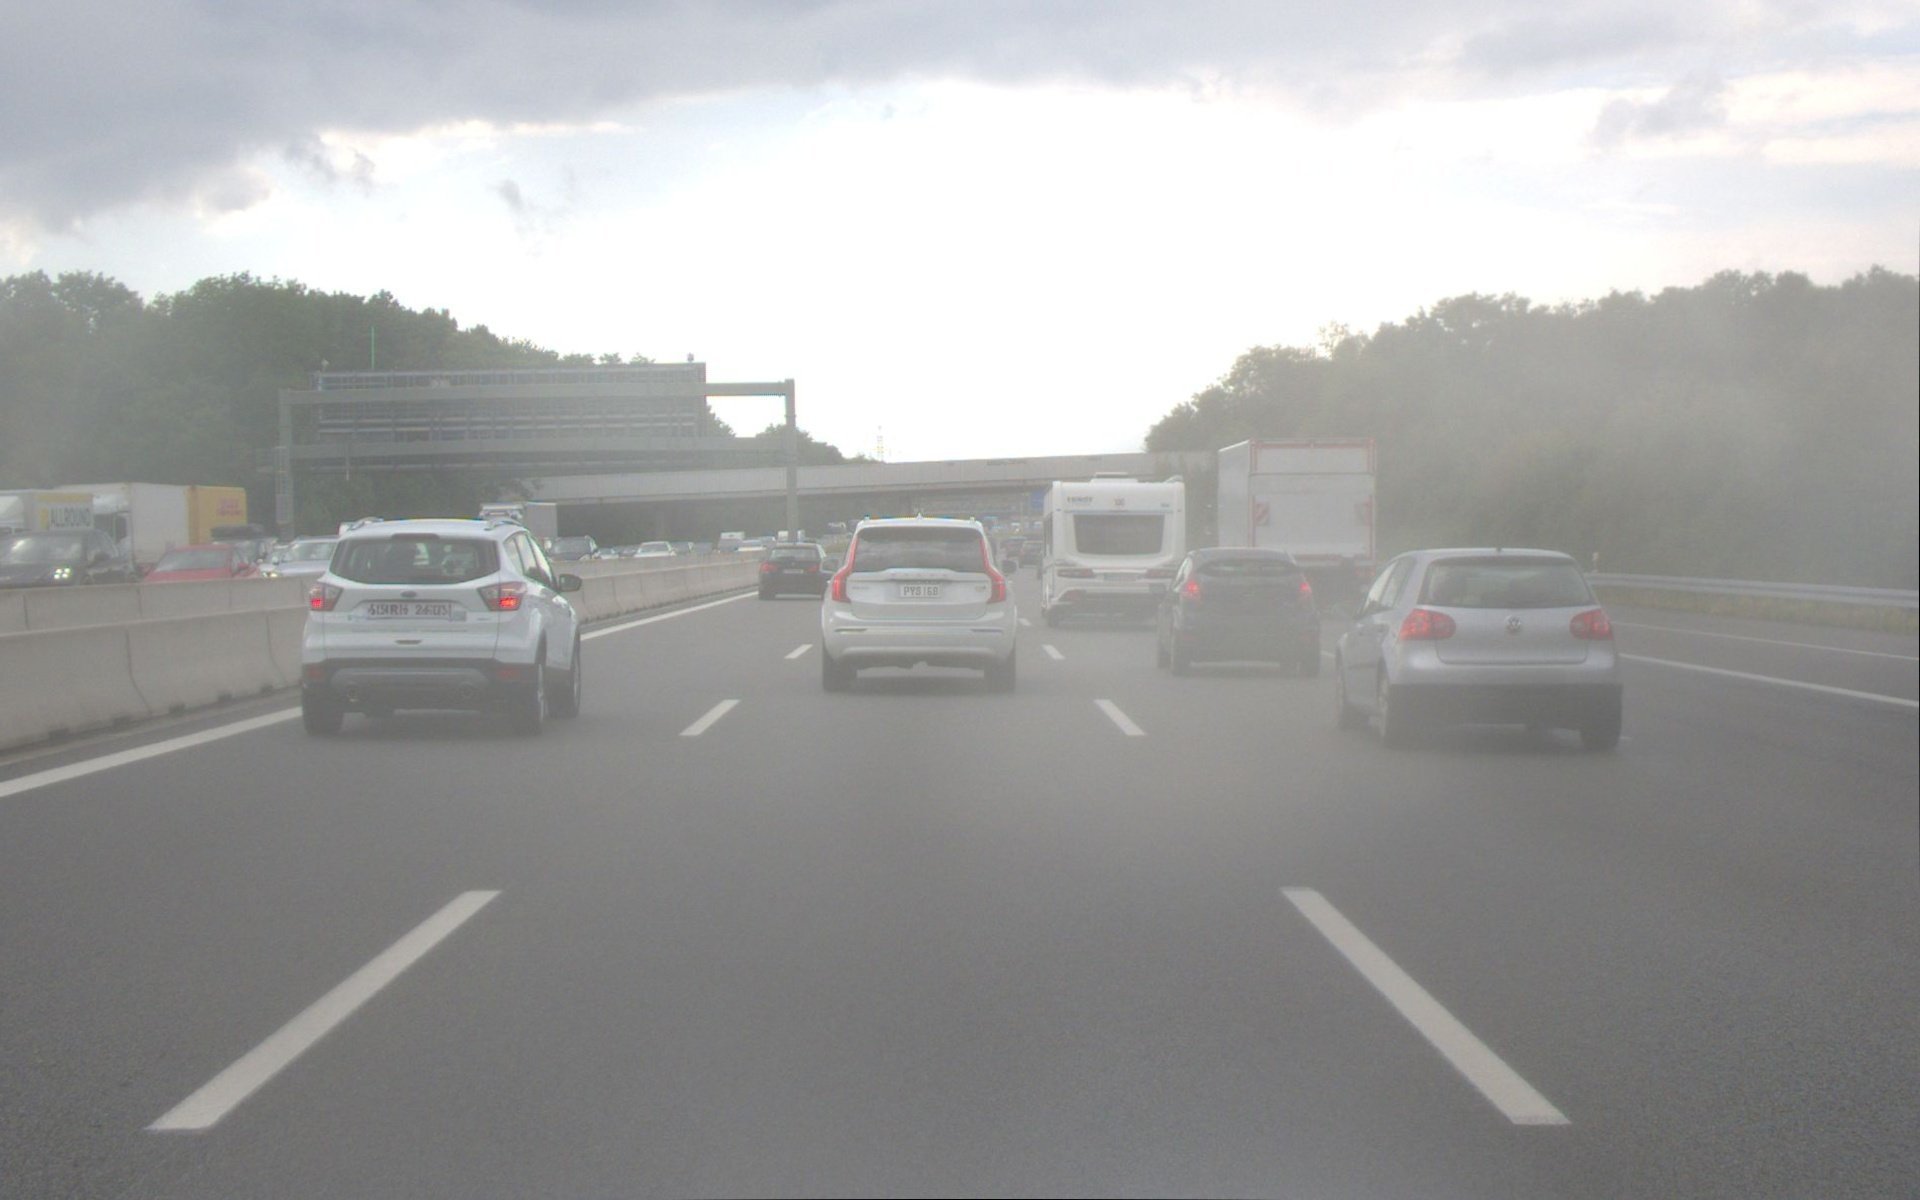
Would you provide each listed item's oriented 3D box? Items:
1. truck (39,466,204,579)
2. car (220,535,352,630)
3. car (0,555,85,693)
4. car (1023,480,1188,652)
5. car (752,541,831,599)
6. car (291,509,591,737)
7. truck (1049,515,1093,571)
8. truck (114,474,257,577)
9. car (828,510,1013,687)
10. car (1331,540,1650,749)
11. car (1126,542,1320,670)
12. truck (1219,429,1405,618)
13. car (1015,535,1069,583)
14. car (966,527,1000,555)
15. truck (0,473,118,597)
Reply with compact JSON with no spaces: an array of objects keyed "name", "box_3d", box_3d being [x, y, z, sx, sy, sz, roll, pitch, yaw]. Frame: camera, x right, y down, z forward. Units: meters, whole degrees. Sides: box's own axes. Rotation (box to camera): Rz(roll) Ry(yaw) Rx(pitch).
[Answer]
[{"name":"truck","box_3d":[-28.052,-2.563,115.517,2.878,3.600,10.312,0,1,1]},{"name":"car","box_3d":[-14.653,-0.413,74.948,1.993,2.007,4.425,0,1,0]},{"name":"car","box_3d":[-14.393,0.300,50.322,1.993,1.897,4.503,0,1,0]},{"name":"car","box_3d":[2.522,-0.641,61.737,2.567,2.885,7.534,0,1,-1]},{"name":"car","box_3d":[-4.359,-0.797,89.466,1.781,1.476,4.353,0,1,1]},{"name":"car","box_3d":[-4.108,0.112,27.901,1.815,1.684,4.852,0,1,-1]},{"name":"truck","box_3d":[7.682,-3.975,239.198,2.906,3.797,7.274,0,1,1]},{"name":"truck","box_3d":[-27.944,-2.664,124.470,2.878,3.600,9.581,0,1,1]},{"name":"car","box_3d":[-0.410,-0.051,35.521,1.781,1.710,4.353,0,1,-1]},{"name":"car","box_3d":[3.976,0.283,26.378,1.795,1.472,4.038,0,1,0]},{"name":"car","box_3d":[3.007,0.030,40.156,1.885,1.402,4.283,0,1,-1]},{"name":"truck","box_3d":[7.278,-1.587,72.342,3.133,3.697,9.847,0,1,2]},{"name":"car","box_3d":[3.174,-1.591,133.065,2.043,1.817,4.904,0,1,1]},{"name":"car","box_3d":[1.376,-3.563,207.742,1.881,1.680,4.001,0,1,-2]},{"name":"truck","box_3d":[-25.906,-1.799,95.205,2.910,3.279,9.202,0,1,0]}]
